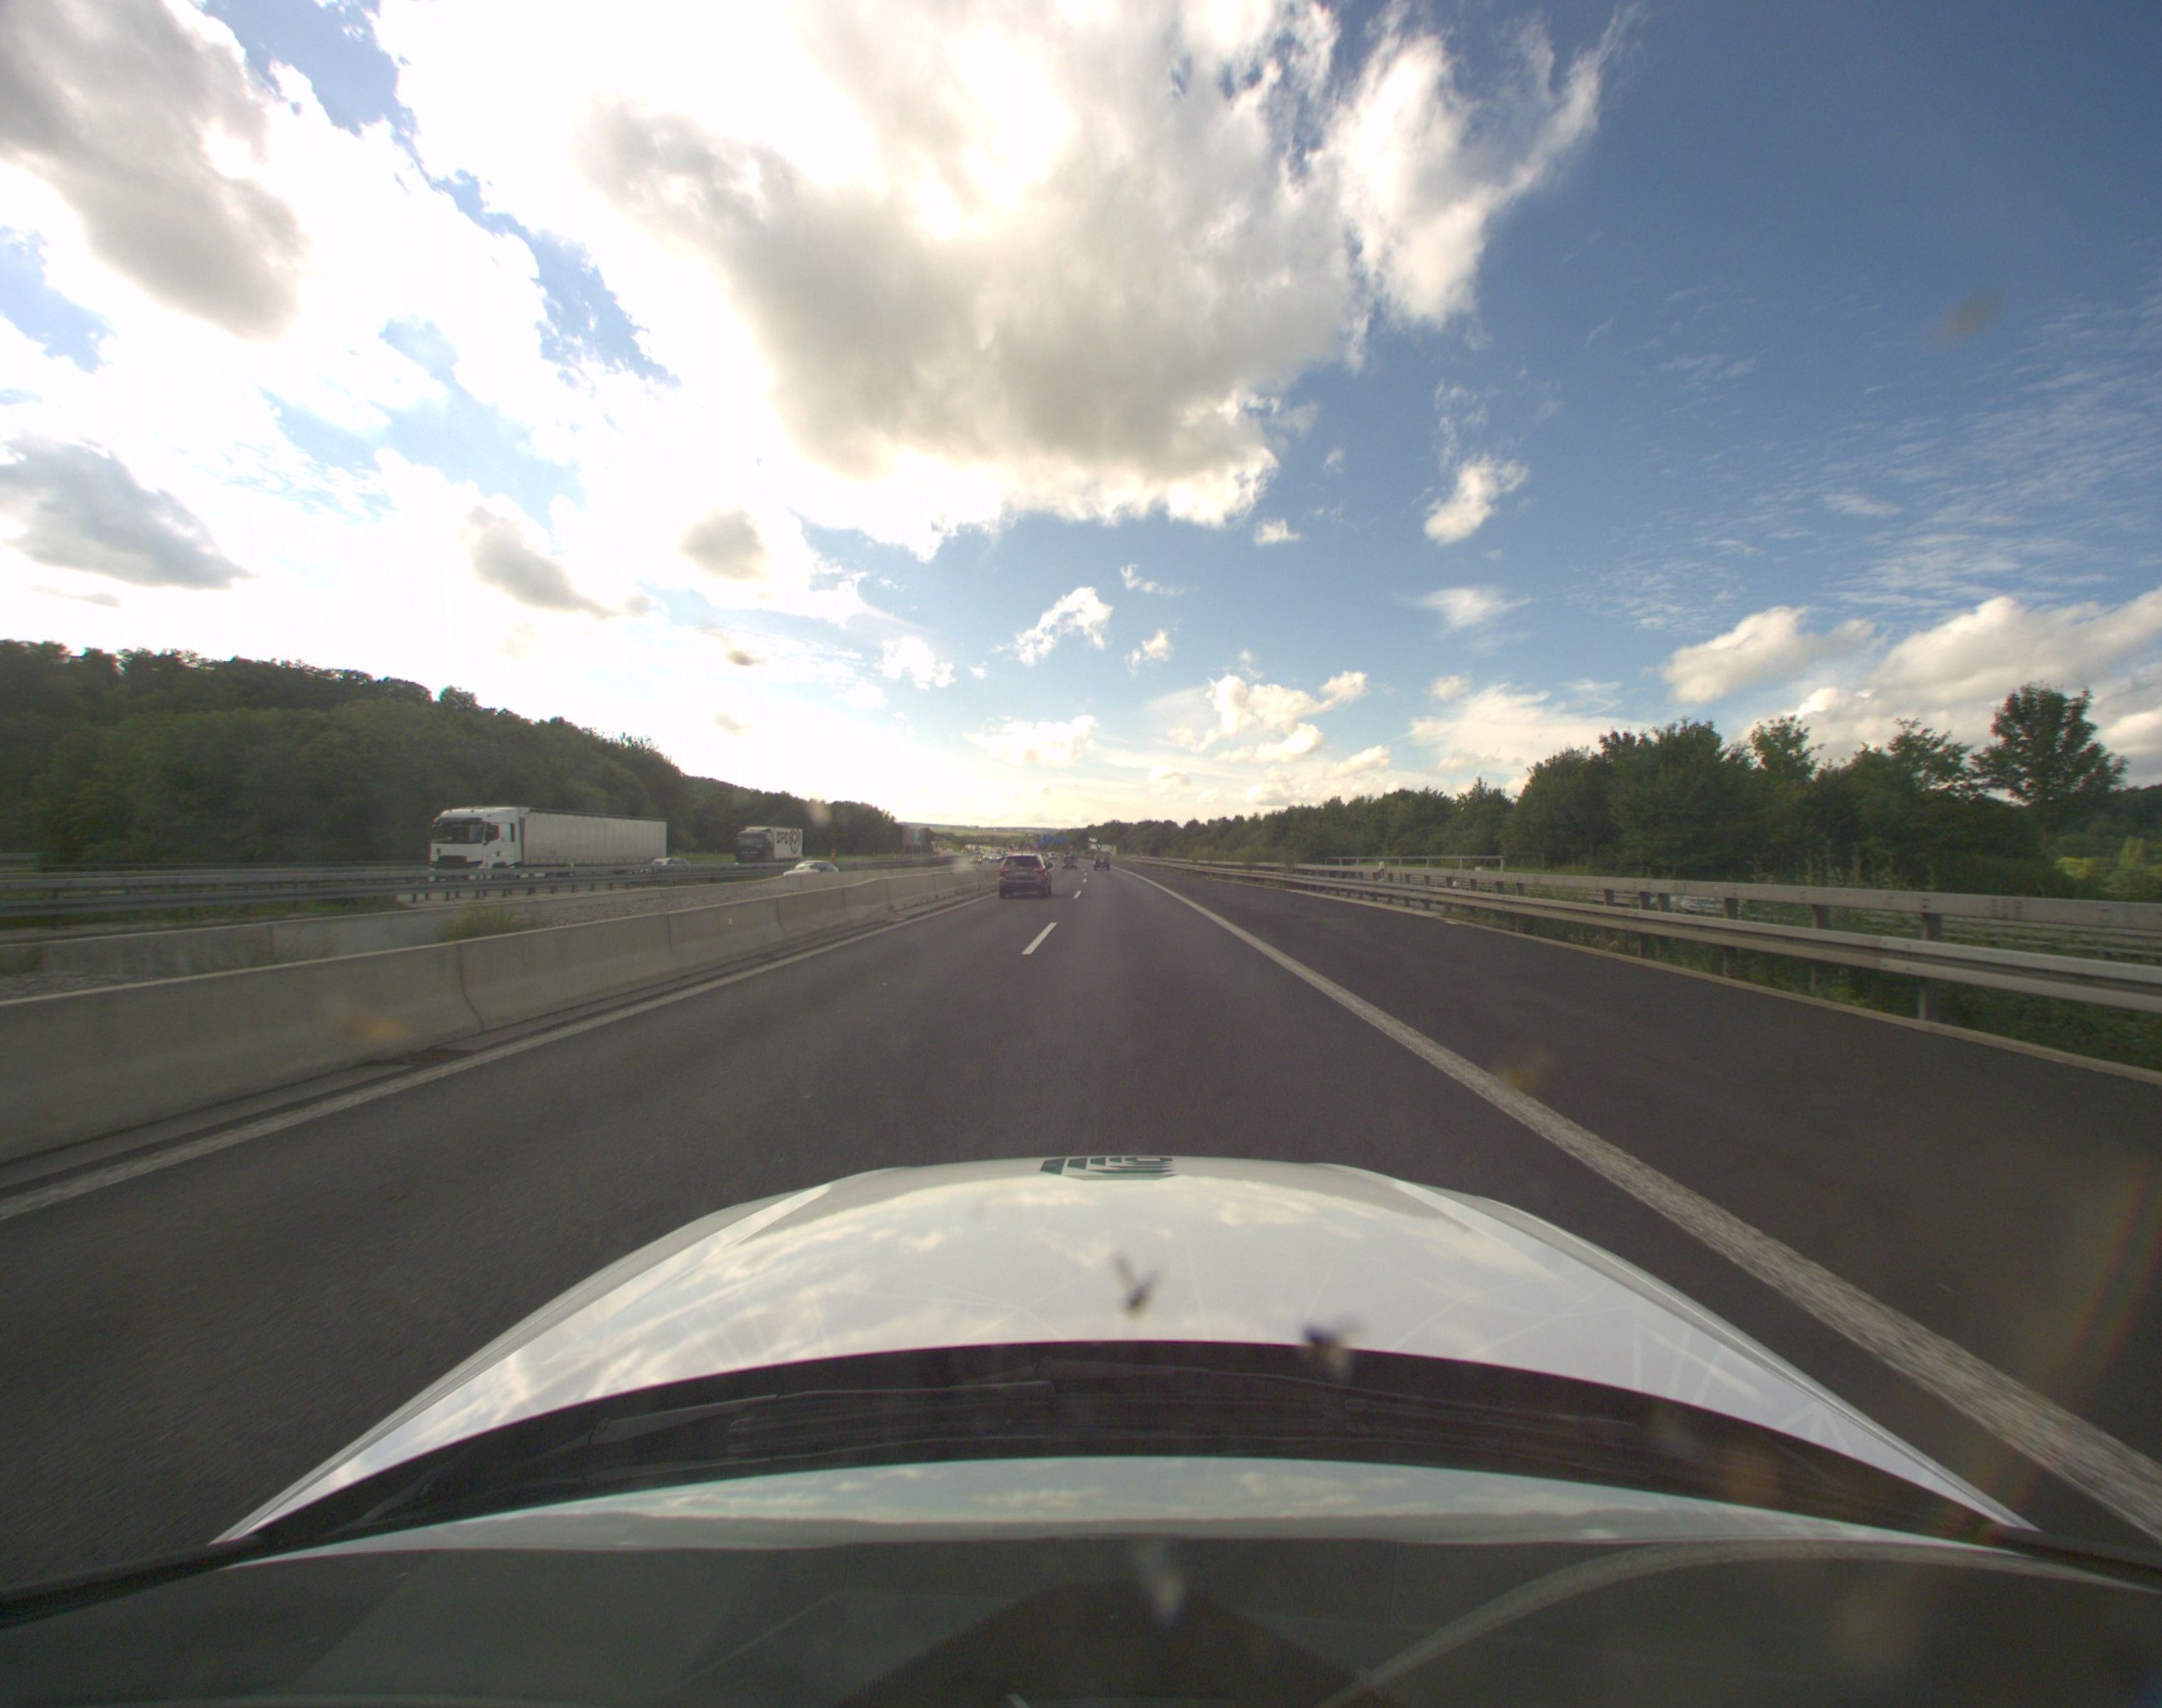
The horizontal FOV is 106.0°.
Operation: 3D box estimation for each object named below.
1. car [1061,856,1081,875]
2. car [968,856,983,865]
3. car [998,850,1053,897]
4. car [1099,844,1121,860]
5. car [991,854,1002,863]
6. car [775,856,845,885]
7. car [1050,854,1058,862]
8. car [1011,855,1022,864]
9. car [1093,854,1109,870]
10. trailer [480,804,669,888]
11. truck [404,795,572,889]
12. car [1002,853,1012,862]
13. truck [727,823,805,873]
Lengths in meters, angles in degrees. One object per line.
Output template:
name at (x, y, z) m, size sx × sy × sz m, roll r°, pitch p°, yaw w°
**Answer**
car at (-1.157, 1.323, 96.193) m, size 2.022 × 2.151 × 4.003 m, roll 0°, pitch 0°, yaw 3°
car at (-17.647, 1.064, 136.764) m, size 1.988 × 1.402 × 4.810 m, roll -1°, pitch 0°, yaw -2°
car at (-2.169, 0.756, 33.057) m, size 1.811 × 1.736 × 5.186 m, roll 0°, pitch -1°, yaw 1°
car at (8.608, -0.520, 243.875) m, size 4.724 × 4.266 × 11.375 m, roll 0°, pitch -1°, yaw -7°
car at (-16.264, 0.907, 157.459) m, size 1.881 × 1.610 × 4.961 m, roll -1°, pitch 0°, yaw -3°
car at (-14.352, 0.905, 43.463) m, size 1.867 × 1.447 × 5.124 m, roll 0°, pitch -1°, yaw 2°
car at (-6.541, 0.975, 197.646) m, size 1.989 × 1.684 × 3.994 m, roll 0°, pitch -1°, yaw -3°
car at (-12.462, 1.051, 157.249) m, size 1.881 × 1.703 × 4.962 m, roll -1°, pitch 0°, yaw -2°
car at (2.030, 0.835, 84.588) m, size 1.582 × 1.597 × 4.095 m, roll 0°, pitch 0°, yaw 0°
trailer at (-29.179, -0.286, 48.061) m, size 3.309 × 4.293 × 12.140 m, roll 0°, pitch -1°, yaw 1°
truck at (-29.323, -0.455, 40.766) m, size 3.309 × 4.293 × 6.748 m, roll 0°, pitch -1°, yaw 1°
car at (-15.470, 0.744, 170.153) m, size 1.881 × 1.785 × 4.950 m, roll -1°, pitch 0°, yaw -1°
truck at (-27.221, -0.369, 71.034) m, size 2.894 × 3.969 × 10.456 m, roll 0°, pitch -1°, yaw -1°
